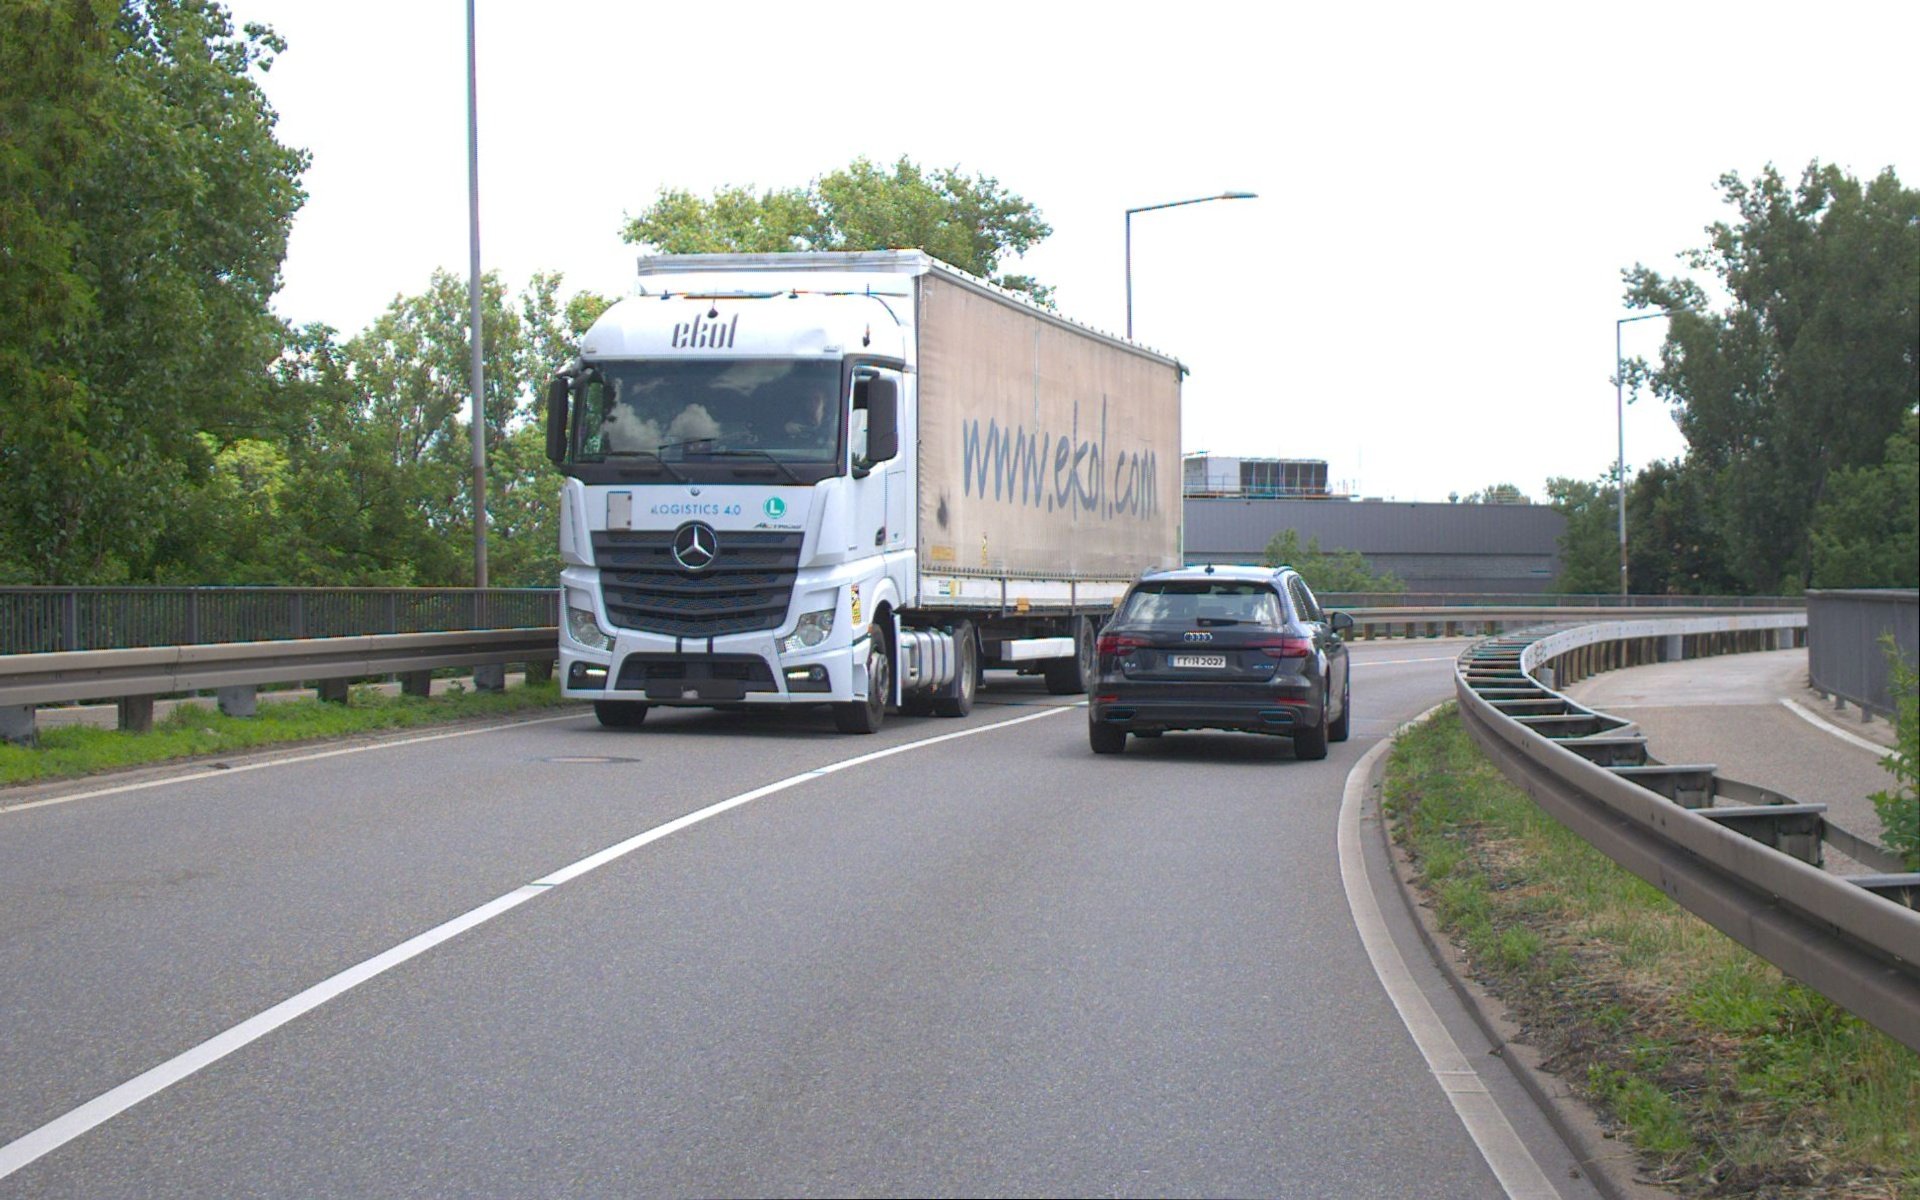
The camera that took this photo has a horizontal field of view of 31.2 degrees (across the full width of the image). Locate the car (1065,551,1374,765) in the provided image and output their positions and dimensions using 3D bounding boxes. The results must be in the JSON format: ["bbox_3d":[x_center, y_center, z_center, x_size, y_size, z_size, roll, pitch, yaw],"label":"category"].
[{"bbox_3d":[2.116,0.383,26.920,1.829,1.486,4.205,2,1,12],"label":"car"}]

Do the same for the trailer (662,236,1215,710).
[{"bbox_3d":[0.286,-1.213,38.119,2.708,4.265,14.223,1,1,14],"label":"trailer"}]

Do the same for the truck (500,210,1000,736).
[{"bbox_3d":[-1.659,-1.040,30.038,2.763,4.120,5.650,1,1,14],"label":"truck"}]
